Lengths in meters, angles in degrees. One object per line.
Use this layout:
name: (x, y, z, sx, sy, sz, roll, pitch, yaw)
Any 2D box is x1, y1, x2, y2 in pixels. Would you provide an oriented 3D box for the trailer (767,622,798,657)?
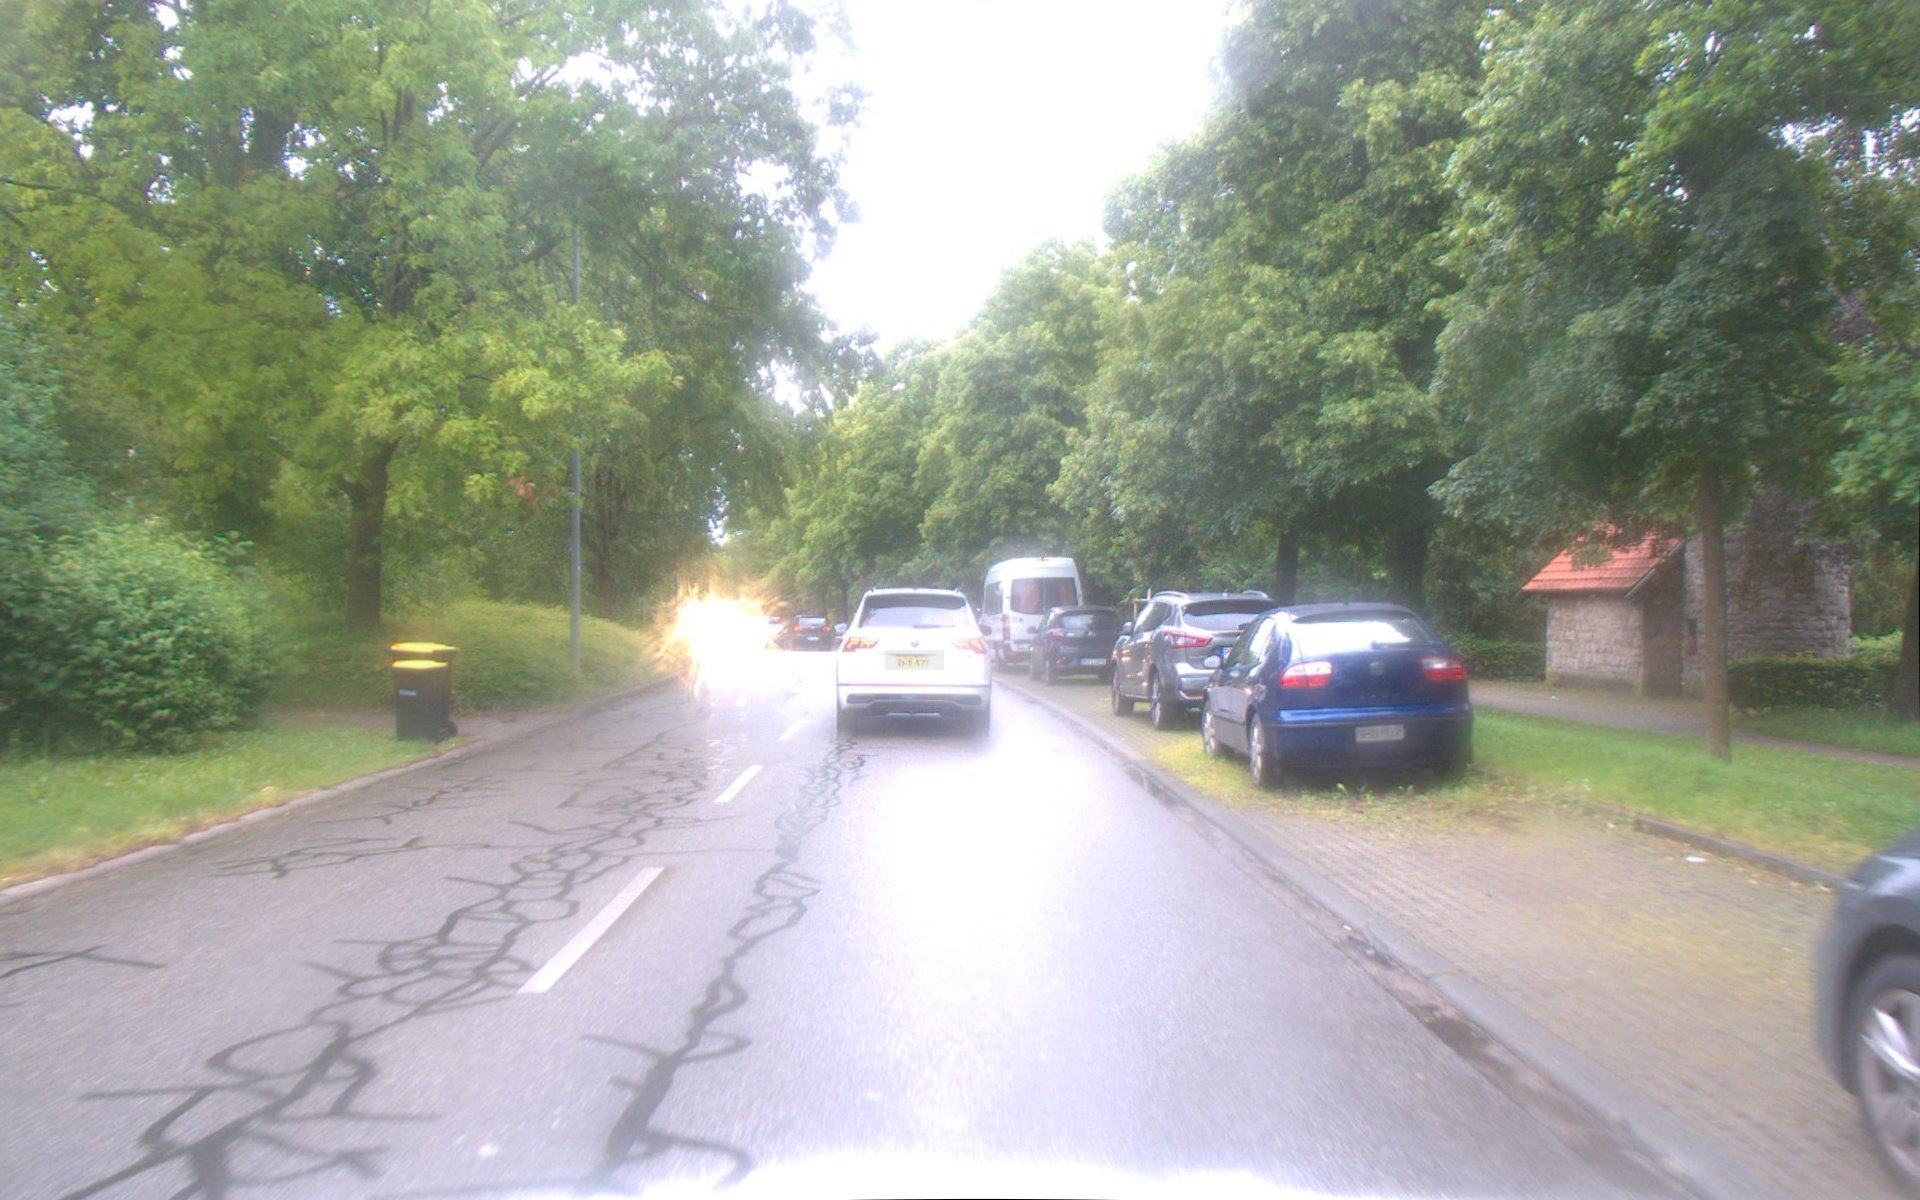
trailer: (-11.583, 2.597, 107.621, 1.504, 2.112, 3.985, -1, -3, -13)

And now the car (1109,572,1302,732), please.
car: (2.936, 0.568, 20.621, 1.745, 1.749, 4.261, -1, 0, 0)

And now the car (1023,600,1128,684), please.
car: (2.248, 0.790, 33.060, 1.827, 1.537, 3.724, -1, 0, 0)

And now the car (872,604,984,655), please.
car: (-1.179, 1.061, 59.803, 3.932, 1.710, 1.603, -3, -2, 40)

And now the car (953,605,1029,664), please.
car: (0.855, 0.972, 48.050, 1.770, 1.566, 4.263, -2, 0, -4)

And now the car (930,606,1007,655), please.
car: (0.234, 0.972, 54.490, 1.955, 1.524, 4.559, -1, 0, -7)

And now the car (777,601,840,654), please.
car: (-6.399, 1.128, 69.535, 1.961, 2.048, 3.983, 0, 1, -16)

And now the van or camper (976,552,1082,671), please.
van or camper: (1.590, 0.238, 41.318, 1.975, 2.628, 8.432, 1, 0, -2)

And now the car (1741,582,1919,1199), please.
car: (3.152, 0.684, 2.731, 1.666, 1.487, 4.216, -1, 0, -1)

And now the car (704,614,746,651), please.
car: (-10.275, 1.401, 72.457, 1.634, 1.503, 3.726, -2, 0, -6)

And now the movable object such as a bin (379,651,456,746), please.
movable object such as a bin: (-5.983, 1.077, 18.255, 0.635, 0.996, 0.578, 2, 0, 0)

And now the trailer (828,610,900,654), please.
trailer: (-4.504, 1.504, 76.573, 2.407, 1.845, 5.872, -1, -2, -13)

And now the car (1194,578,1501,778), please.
car: (3.162, 0.572, 14.285, 1.707, 1.478, 4.000, 0, 0, 0)

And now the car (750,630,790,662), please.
car: (-12.940, 3.118, 112.184, 1.960, 1.943, 5.486, 0, -4, -15)

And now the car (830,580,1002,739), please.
car: (-0.603, 0.642, 20.354, 1.867, 1.715, 4.198, -1, 0, -3)

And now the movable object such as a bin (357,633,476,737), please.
movable object such as a bin: (-6.228, 0.962, 19.002, 1.016, 1.124, 0.966, 2, 0, 0)

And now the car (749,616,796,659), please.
car: (-9.706, 1.919, 85.378, 1.959, 2.048, 3.987, 0, 1, -13)
